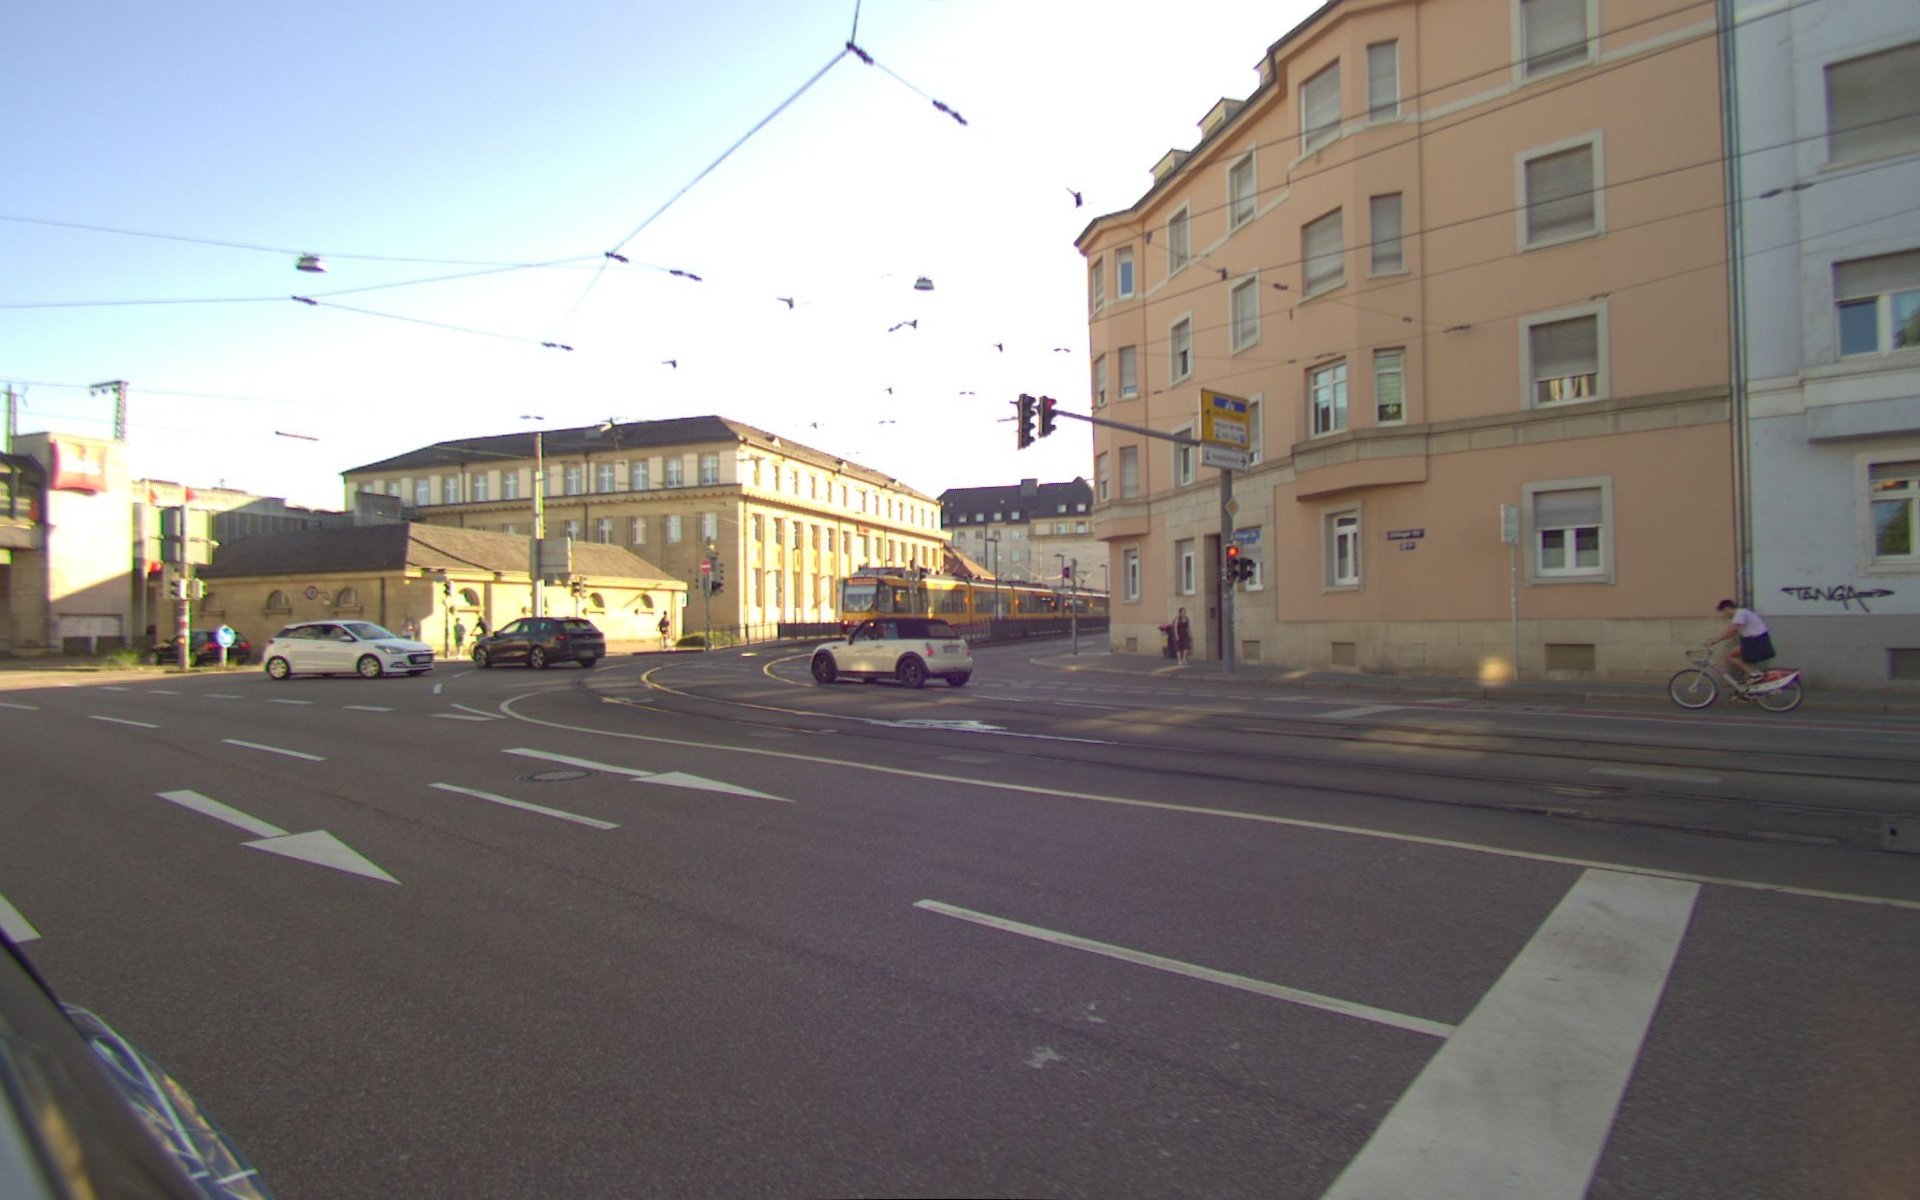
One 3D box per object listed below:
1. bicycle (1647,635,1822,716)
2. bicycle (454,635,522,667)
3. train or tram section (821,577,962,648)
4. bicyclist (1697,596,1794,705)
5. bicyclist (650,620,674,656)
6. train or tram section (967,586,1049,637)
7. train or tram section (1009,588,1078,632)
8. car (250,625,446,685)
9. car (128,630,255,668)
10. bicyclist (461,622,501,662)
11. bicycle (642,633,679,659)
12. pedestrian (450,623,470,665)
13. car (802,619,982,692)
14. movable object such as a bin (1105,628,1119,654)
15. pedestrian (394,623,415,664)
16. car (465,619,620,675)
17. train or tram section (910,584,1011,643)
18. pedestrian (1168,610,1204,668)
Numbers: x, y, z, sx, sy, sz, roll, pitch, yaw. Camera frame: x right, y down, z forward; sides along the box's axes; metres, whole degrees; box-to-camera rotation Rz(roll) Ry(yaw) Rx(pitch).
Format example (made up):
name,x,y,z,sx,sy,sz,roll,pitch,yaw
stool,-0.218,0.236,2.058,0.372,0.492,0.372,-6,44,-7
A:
name,x,y,z,sx,sy,sz,roll,pitch,yaw
bicycle,12.310,1.168,16.138,2.151,1.200,0.738,-2,-2,41
bicycle,-16.933,1.819,36.278,3.352,1.064,0.924,-3,-2,41
train or tram section,-3.305,0.708,53.715,3.143,3.346,11.743,-2,-1,19
bicyclist,12.444,0.790,16.040,1.125,1.655,0.738,-2,-2,41
bicyclist,-13.973,1.788,47.453,0.671,1.652,0.935,-1,-1,14
train or tram section,3.726,0.807,74.327,3.141,3.382,10.782,-2,-1,19
train or tram section,7.152,0.827,84.552,3.141,3.382,10.782,-2,-1,19
car,-15.352,1.369,25.482,4.059,1.404,1.787,-1,-2,9
car,-29.763,1.893,39.196,4.533,1.403,1.984,-2,-2,24
bicyclist,-17.369,1.512,36.674,1.147,1.393,0.924,-3,-2,41
bicycle,-13.991,2.146,47.342,0.679,1.145,2.065,-1,0,13
pedestrian,-20.314,1.785,41.123,0.616,1.652,0.490,-1,-2,-7
car,-1.460,1.130,21.154,3.528,1.385,1.710,-2,-2,37
movable object such as a bin,6.089,1.645,40.468,0.479,1.040,0.448,-2,-2,19
pedestrian,-22.776,1.791,41.494,0.616,1.652,0.515,-1,-2,-7
car,-11.873,1.308,28.689,4.485,1.466,1.906,-2,-2,33
train or tram section,0.265,0.789,64.225,3.141,3.382,10.613,-2,-1,19
pedestrian,6.200,1.067,27.755,0.666,1.575,0.722,0,-2,-15
